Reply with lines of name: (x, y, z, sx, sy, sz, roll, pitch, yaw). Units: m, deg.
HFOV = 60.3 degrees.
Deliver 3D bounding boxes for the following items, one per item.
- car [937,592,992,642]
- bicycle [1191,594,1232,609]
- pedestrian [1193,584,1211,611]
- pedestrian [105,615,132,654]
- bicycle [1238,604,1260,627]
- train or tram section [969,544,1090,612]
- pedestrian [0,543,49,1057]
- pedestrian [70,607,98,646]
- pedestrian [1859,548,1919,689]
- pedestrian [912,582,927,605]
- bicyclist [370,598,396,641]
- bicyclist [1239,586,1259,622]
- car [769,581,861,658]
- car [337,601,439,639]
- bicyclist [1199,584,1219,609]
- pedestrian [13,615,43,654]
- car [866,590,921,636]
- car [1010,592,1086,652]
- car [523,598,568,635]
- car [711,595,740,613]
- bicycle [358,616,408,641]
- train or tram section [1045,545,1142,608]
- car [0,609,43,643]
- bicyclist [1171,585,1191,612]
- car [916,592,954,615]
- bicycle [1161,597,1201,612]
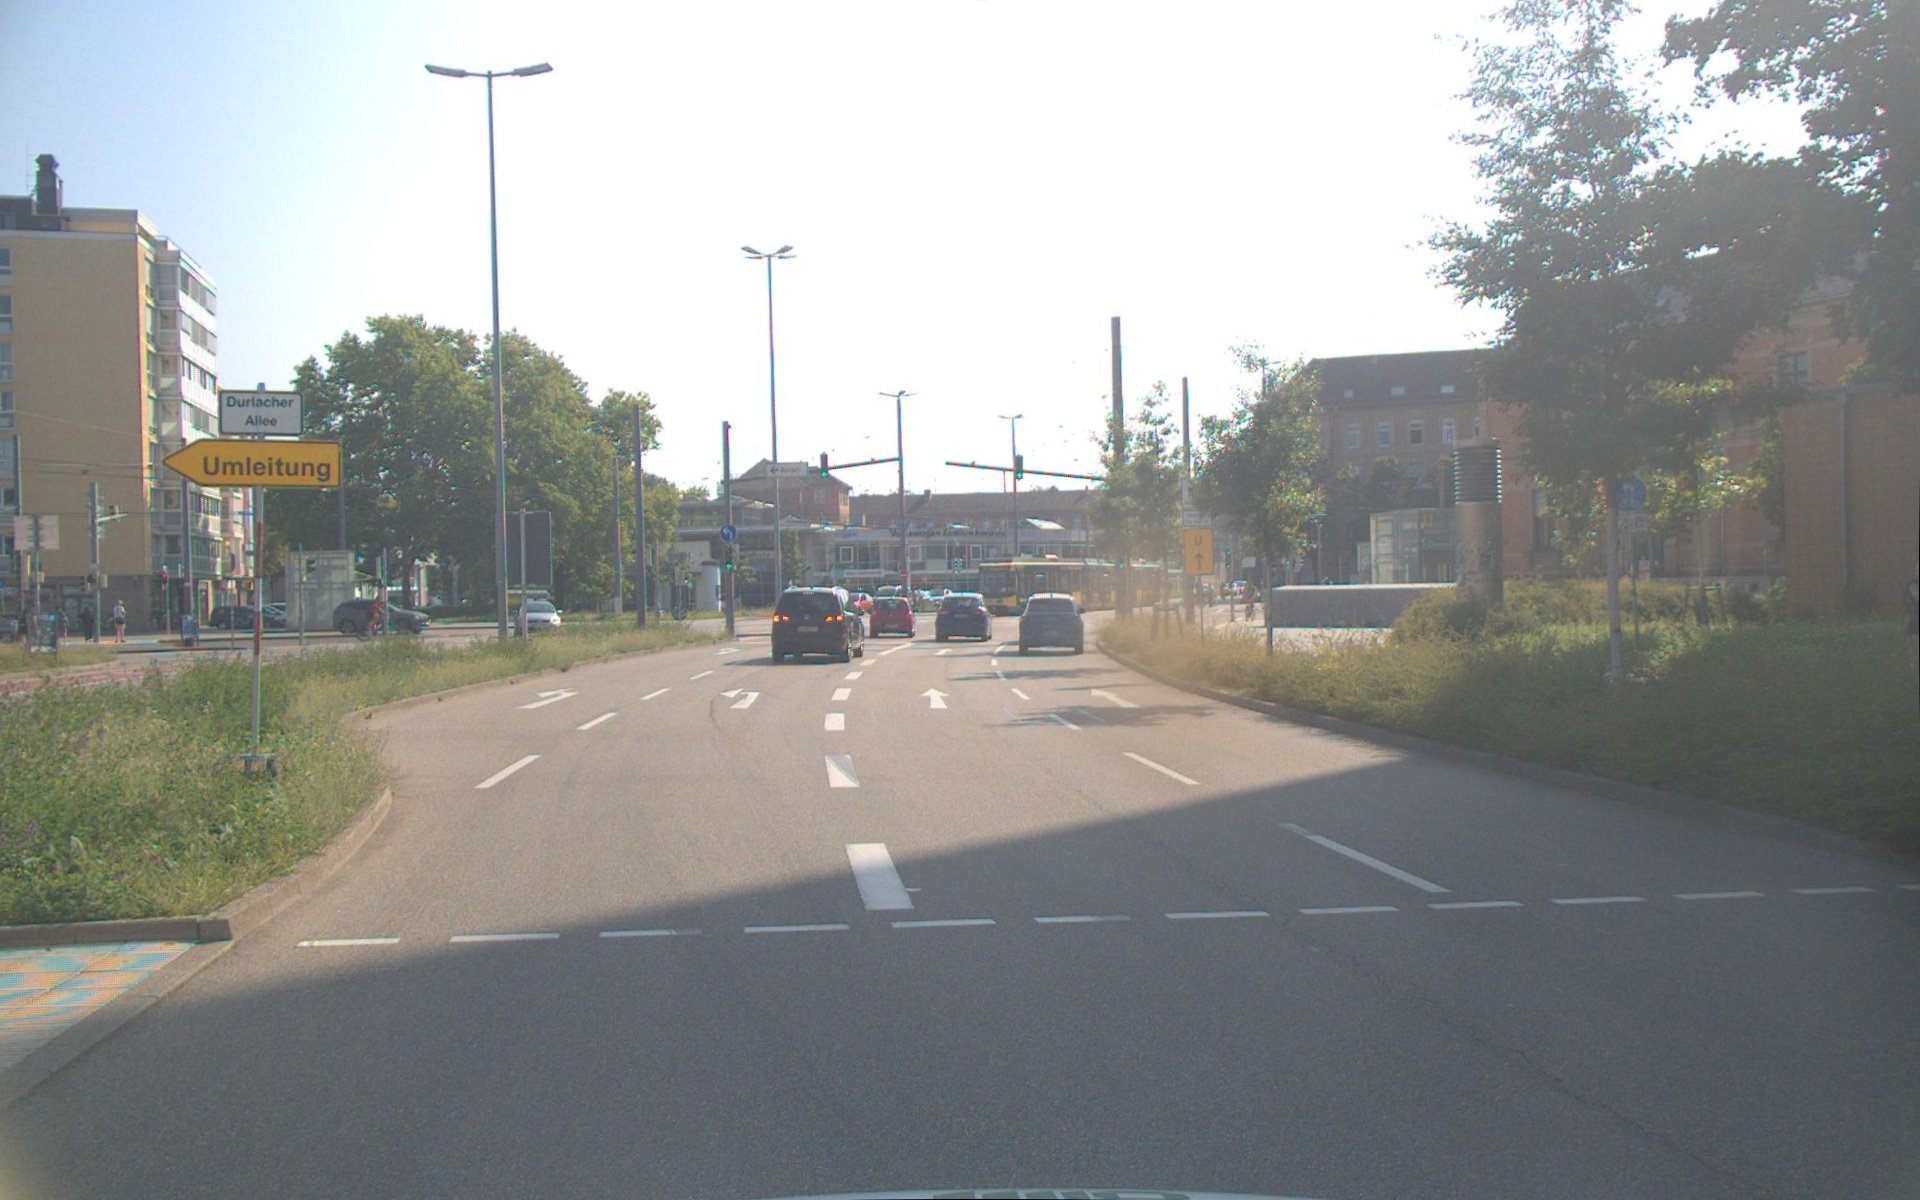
car: (0.149, 0.554, 56.659, 1.788, 1.562, 4.412, -2, 0, 0)
bicycle: (17.475, 0.115, 114.935, 2.582, 0.981, 1.086, -1, 0, -23)
pedestrian: (16.422, -0.160, 112.252, 0.919, 1.828, 0.848, -1, 0, -39)
pedestrian: (-37.749, 1.534, 74.219, 0.907, 1.719, 0.919, -1, 0, -16)
bicycle: (12.846, 0.683, 73.489, 0.704, 0.976, 1.922, -1, 0, 18)
train or tram section: (4.210, -1.320, 96.907, 2.604, 3.763, 10.573, -1, 1, 29)
pedestrian: (-3.553, 0.666, 5.365, 0.653, 1.683, 0.778, -1, 0, 26)
pedestrian: (-39.195, 1.183, 73.980, 0.907, 1.719, 0.919, -1, 0, -16)
pedestrian: (10.246, 0.183, 17.730, 0.710, 1.468, 0.857, -1, 0, -1)
pedestrian: (-2.656, -0.433, 108.134, 0.761, 1.529, 0.711, -1, 0, 17)
bicyclist: (-23.237, 0.791, 66.618, 0.865, 1.681, 0.724, -1, 0, -10)
bicyclist: (12.850, 0.176, 73.515, 0.704, 1.539, 1.005, -1, 0, 18)
car: (-3.438, 0.430, 39.867, 1.788, 1.744, 4.412, 1, 0, 0)
car: (-27.452, 0.943, 79.480, 4.368, 1.645, 1.694, -2, 0, -12)
bicyclist: (17.293, -0.255, 114.855, 0.921, 1.709, 1.086, -1, 0, -22)
pedestrian: (-41.077, 1.514, 72.887, 0.907, 1.719, 0.919, -1, 0, -16)
car: (-2.438, 0.450, 61.481, 1.788, 1.562, 4.412, -2, 0, 0)
car: (2.337, 0.558, 44.883, 1.788, 1.453, 4.412, -2, 0, 0)
car: (-17.441, 0.679, 69.572, 1.783, 1.458, 4.208, -1, 0, -14)
car: (-21.314, 0.369, 150.362, 1.663, 1.549, 4.102, -1, 0, 6)
bicycle: (-23.243, 1.143, 66.617, 1.779, 0.948, 0.724, -1, 0, -10)
train or tram section: (8.698, -1.542, 106.437, 2.653, 3.763, 10.583, -1, 0, 25)
car: (-50.668, 1.364, 87.261, 4.451, 1.708, 1.996, -1, 0, 31)
bicyclist: (15.140, -0.102, 113.427, 0.921, 1.831, 1.086, -1, 0, -22)
car: (-1.777, 0.248, 119.465, 1.580, 1.501, 4.003, -3, 0, 17)
bicycle: (15.162, 0.327, 113.437, 2.582, 0.981, 1.086, -1, 0, -23)
